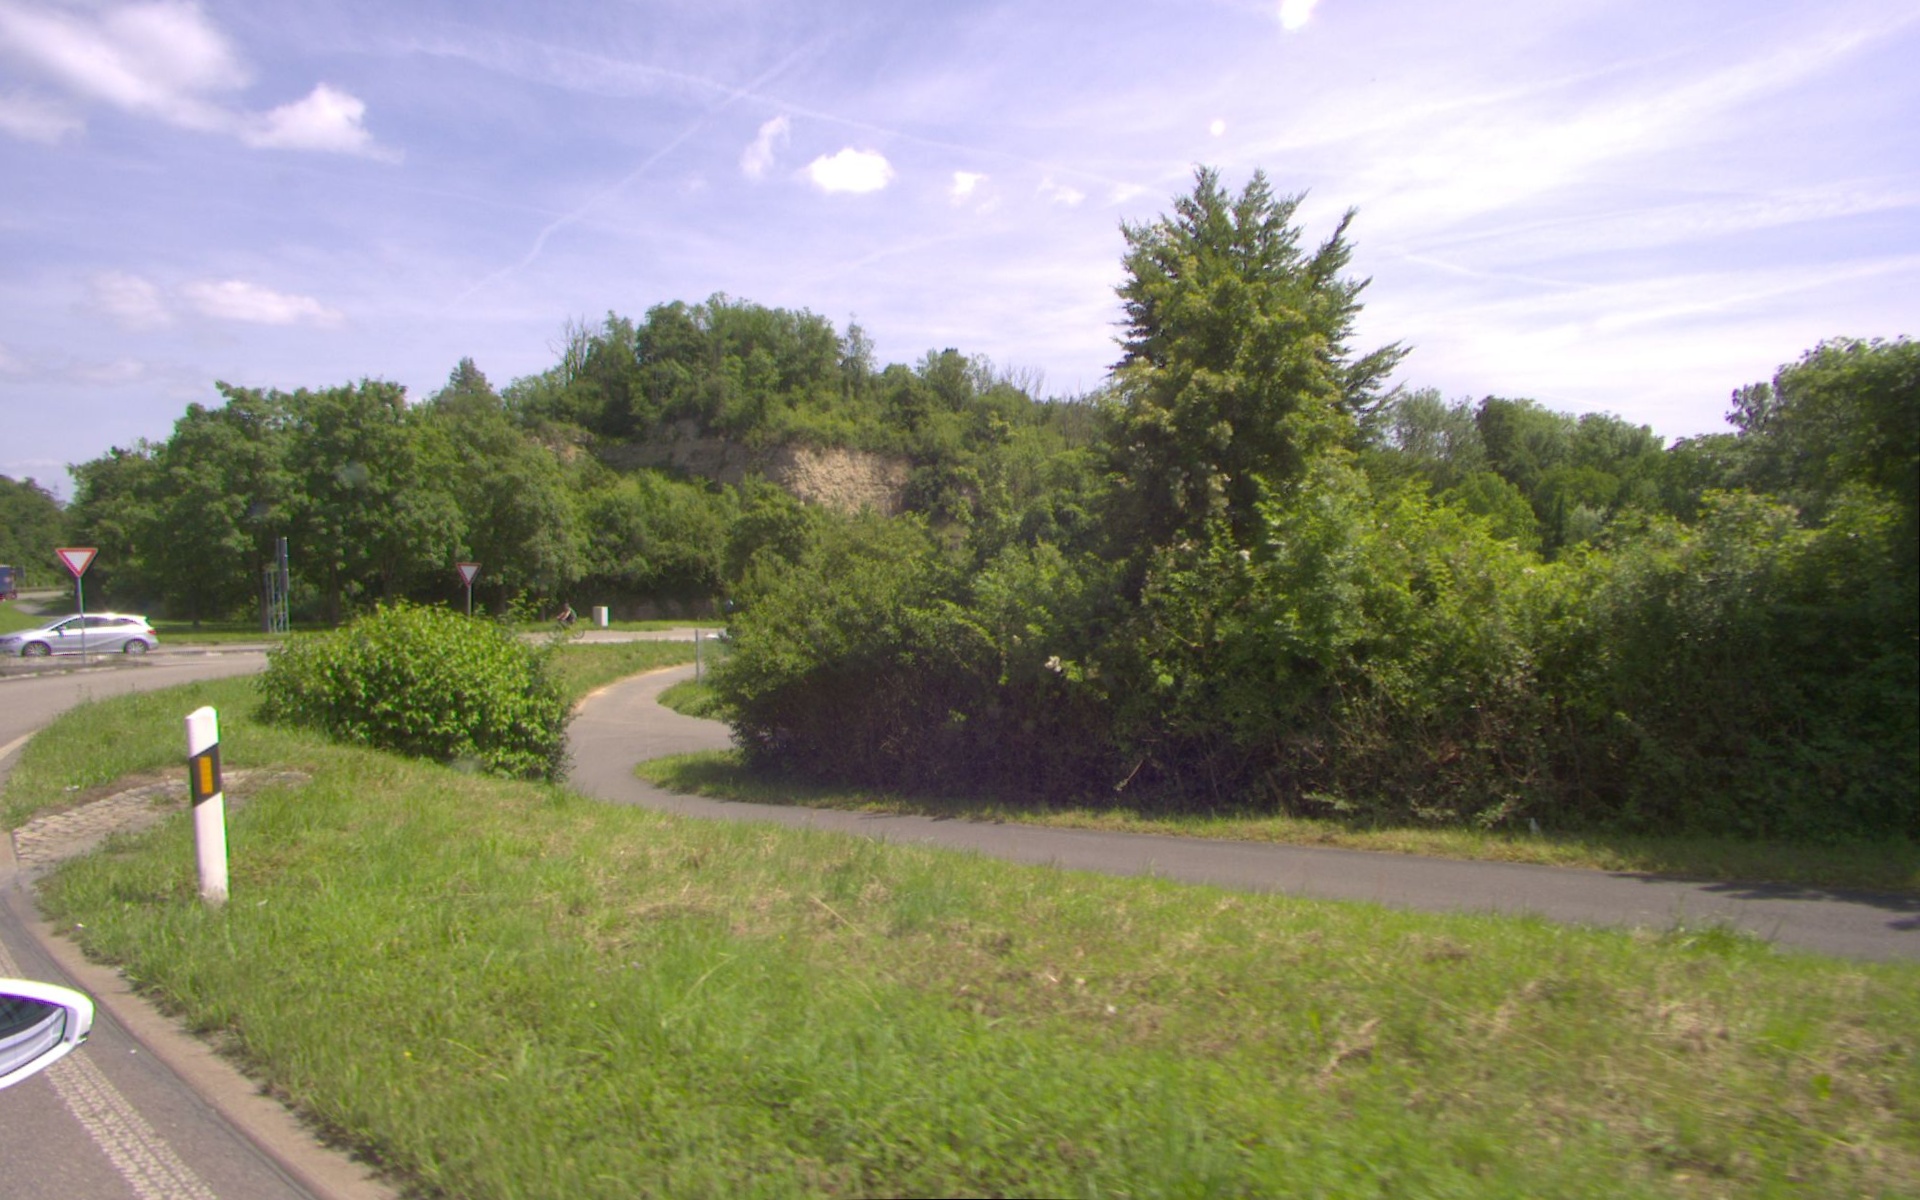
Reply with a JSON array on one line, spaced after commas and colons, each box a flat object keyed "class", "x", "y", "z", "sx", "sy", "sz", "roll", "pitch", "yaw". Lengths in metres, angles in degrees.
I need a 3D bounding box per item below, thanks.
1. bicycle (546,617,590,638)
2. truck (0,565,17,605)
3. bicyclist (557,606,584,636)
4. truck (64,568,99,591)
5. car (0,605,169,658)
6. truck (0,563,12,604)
[{"class": "bicycle", "x": -19.759, "y": 1.413, "z": 50.512, "sx": 0.785, "sy": 1.008, "sz": 1.987, "roll": -2, "pitch": -3, "yaw": 30}, {"class": "truck", "x": -106.160, "y": -1.625, "z": 109.735, "sx": 3.138, "sy": 4.054, "sz": 5.782, "roll": 1, "pitch": -3, "yaw": -33}, {"class": "bicyclist", "x": -19.704, "y": 1.072, "z": 50.636, "sx": 0.784, "sy": 1.466, "sz": 1.004, "roll": -2, "pitch": -2, "yaw": 30}, {"class": "truck", "x": -125.425, "y": -2.826, "z": 143.014, "sx": 2.827, "sy": 2.986, "sz": 7.058, "roll": 0, "pitch": -1, "yaw": -34}, {"class": "car", "x": -31.262, "y": 1.132, "z": 35.735, "sx": 1.976, "sy": 1.740, "sz": 4.413, "roll": -3, "pitch": -3, "yaw": 37}, {"class": "truck", "x": -103.043, "y": -1.925, "z": 105.008, "sx": 3.148, "sy": 4.079, "sz": 11.678, "roll": 1, "pitch": -3, "yaw": -33}]
